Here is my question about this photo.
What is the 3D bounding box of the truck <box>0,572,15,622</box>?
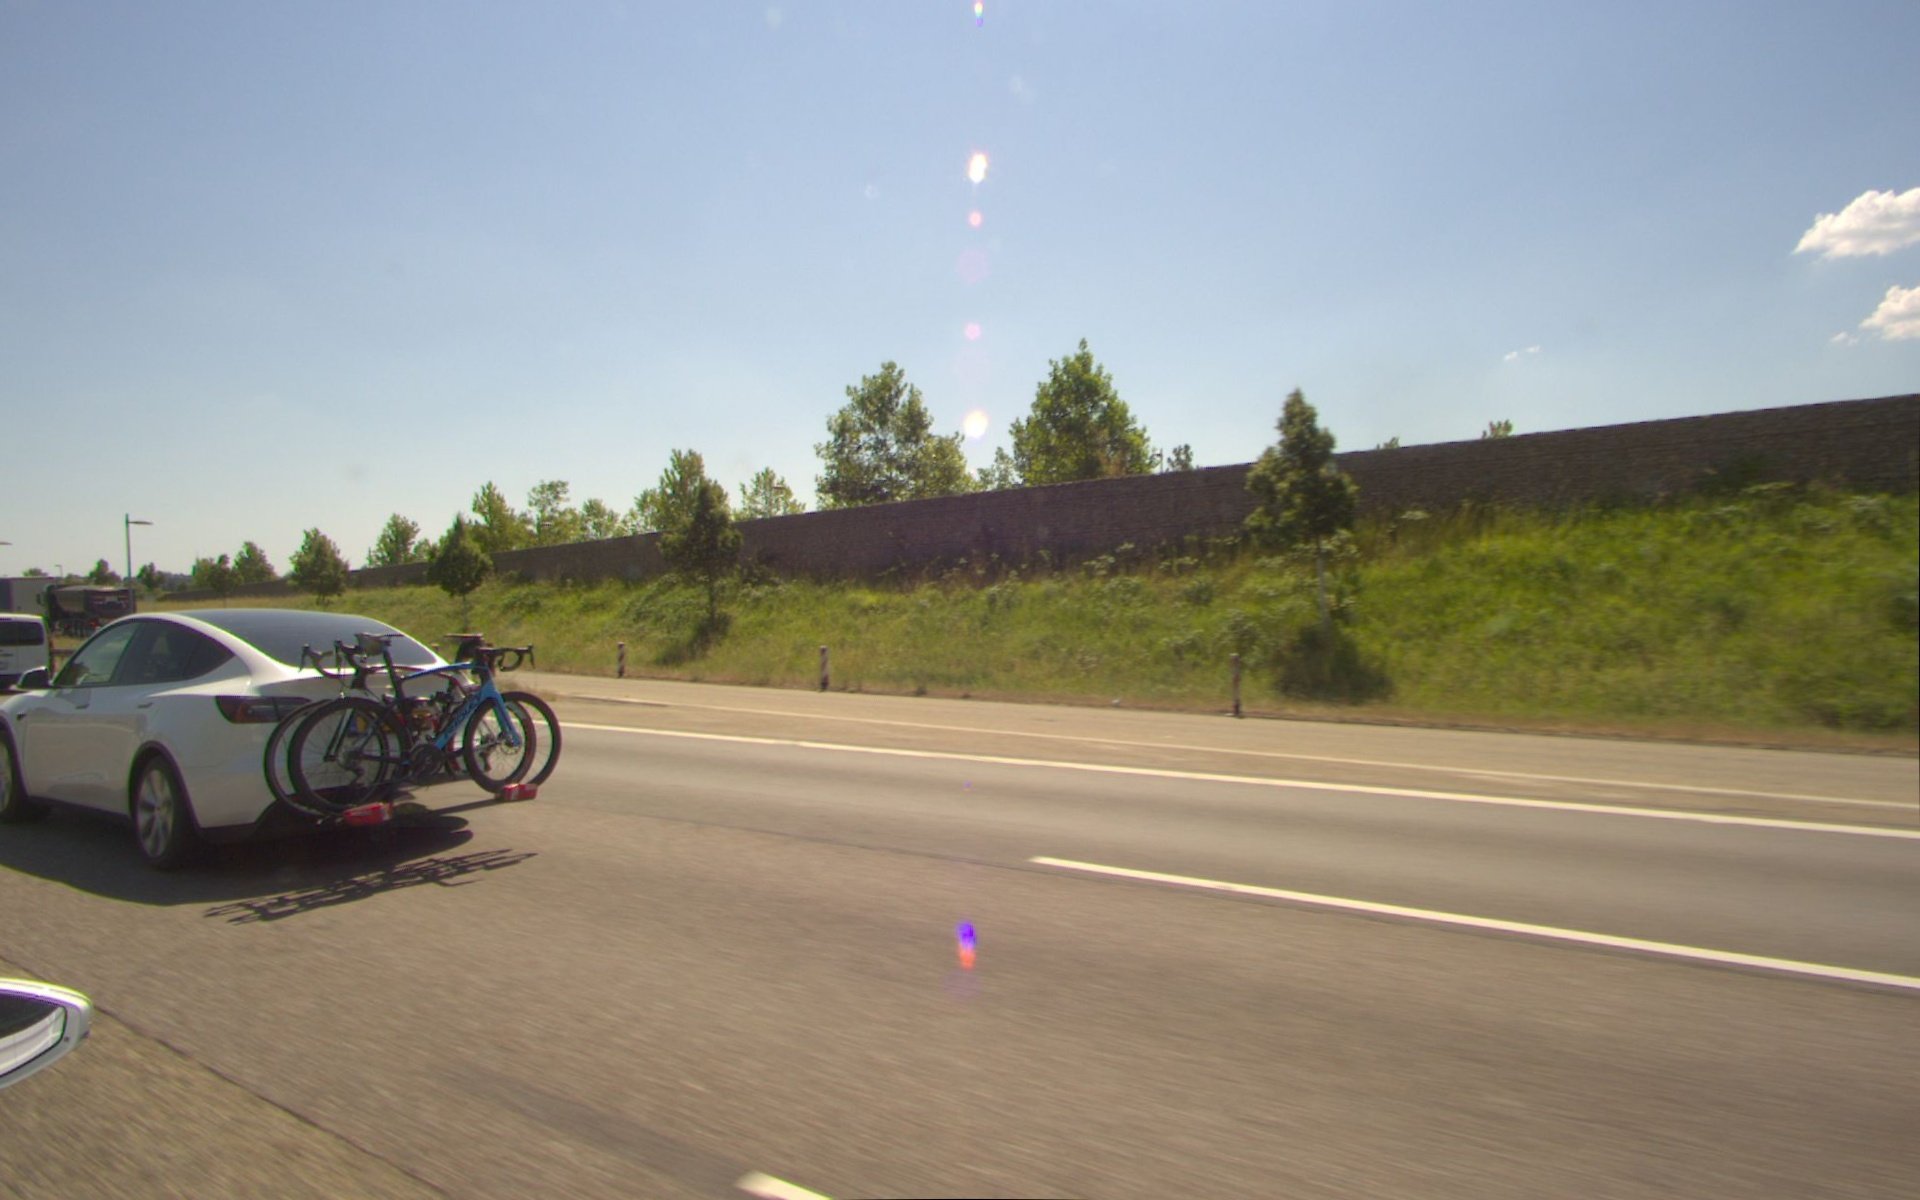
[{"bbox_3d":[-83.513,-0.220,85.235,6.307,4.135,3.047,-1,-1,32],"label":"truck"}]

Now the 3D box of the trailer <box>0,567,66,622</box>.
[{"bbox_3d":[-76.836,-0.307,80.976,14.055,4.135,3.047,-1,-1,33],"label":"trailer"}]

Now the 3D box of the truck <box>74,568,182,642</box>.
[{"bbox_3d":[-51.299,0.450,61.554,12.388,4.135,3.767,-1,-2,44],"label":"truck"}]

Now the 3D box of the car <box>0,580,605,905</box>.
[{"bbox_3d":[-5.252,0.790,7.424,5.520,1.657,1.947,-1,-2,32],"label":"car"}]

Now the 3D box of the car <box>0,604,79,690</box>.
[{"bbox_3d":[-22.571,1.064,23.281,4.117,1.862,1.947,-1,1,31],"label":"car"}]
